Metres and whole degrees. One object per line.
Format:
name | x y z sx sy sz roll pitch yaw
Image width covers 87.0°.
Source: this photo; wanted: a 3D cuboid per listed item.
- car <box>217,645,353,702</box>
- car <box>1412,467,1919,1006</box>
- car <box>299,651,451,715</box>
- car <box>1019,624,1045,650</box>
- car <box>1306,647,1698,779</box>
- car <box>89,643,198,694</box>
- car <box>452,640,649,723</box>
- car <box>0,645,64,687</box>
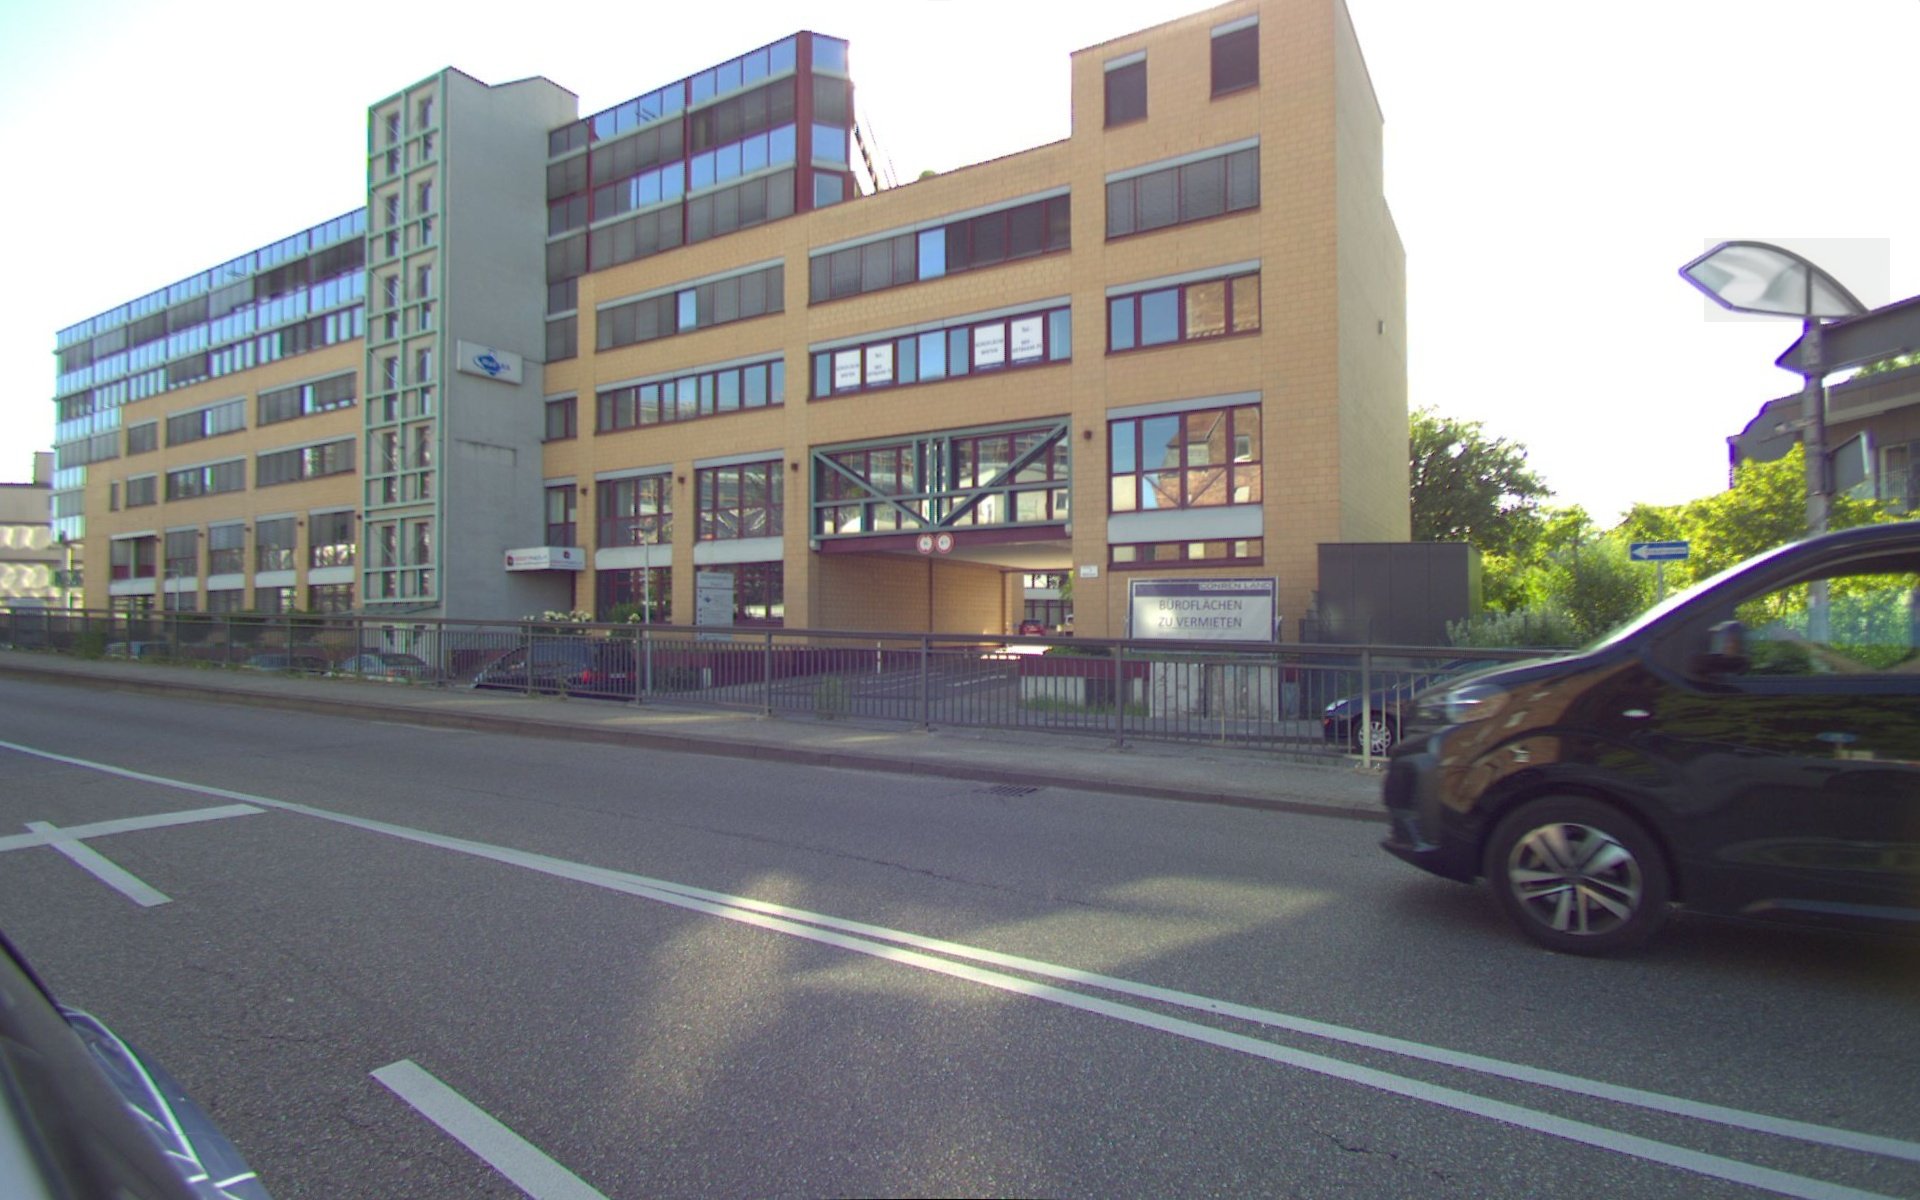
car | -20.803 2.203 31.161 4.341 1.616 1.807 -1 -3 31
car | 4.630 0.494 4.062 4.840 1.950 1.976 -2 -3 35
car | -16.376 2.257 28.285 4.341 1.616 1.807 -1 -3 31
car | 4.676 2.417 65.830 1.621 1.586 3.150 -1 -2 3
car | 7.215 1.403 13.758 4.439 1.515 1.805 -2 -3 34
car | -29.659 2.422 36.747 3.990 1.737 1.977 -1 -3 34
car | -9.847 1.872 24.265 4.669 1.771 1.937 -1 -1 30
car | -39.913 2.742 42.879 3.990 1.674 1.977 -1 -3 34
